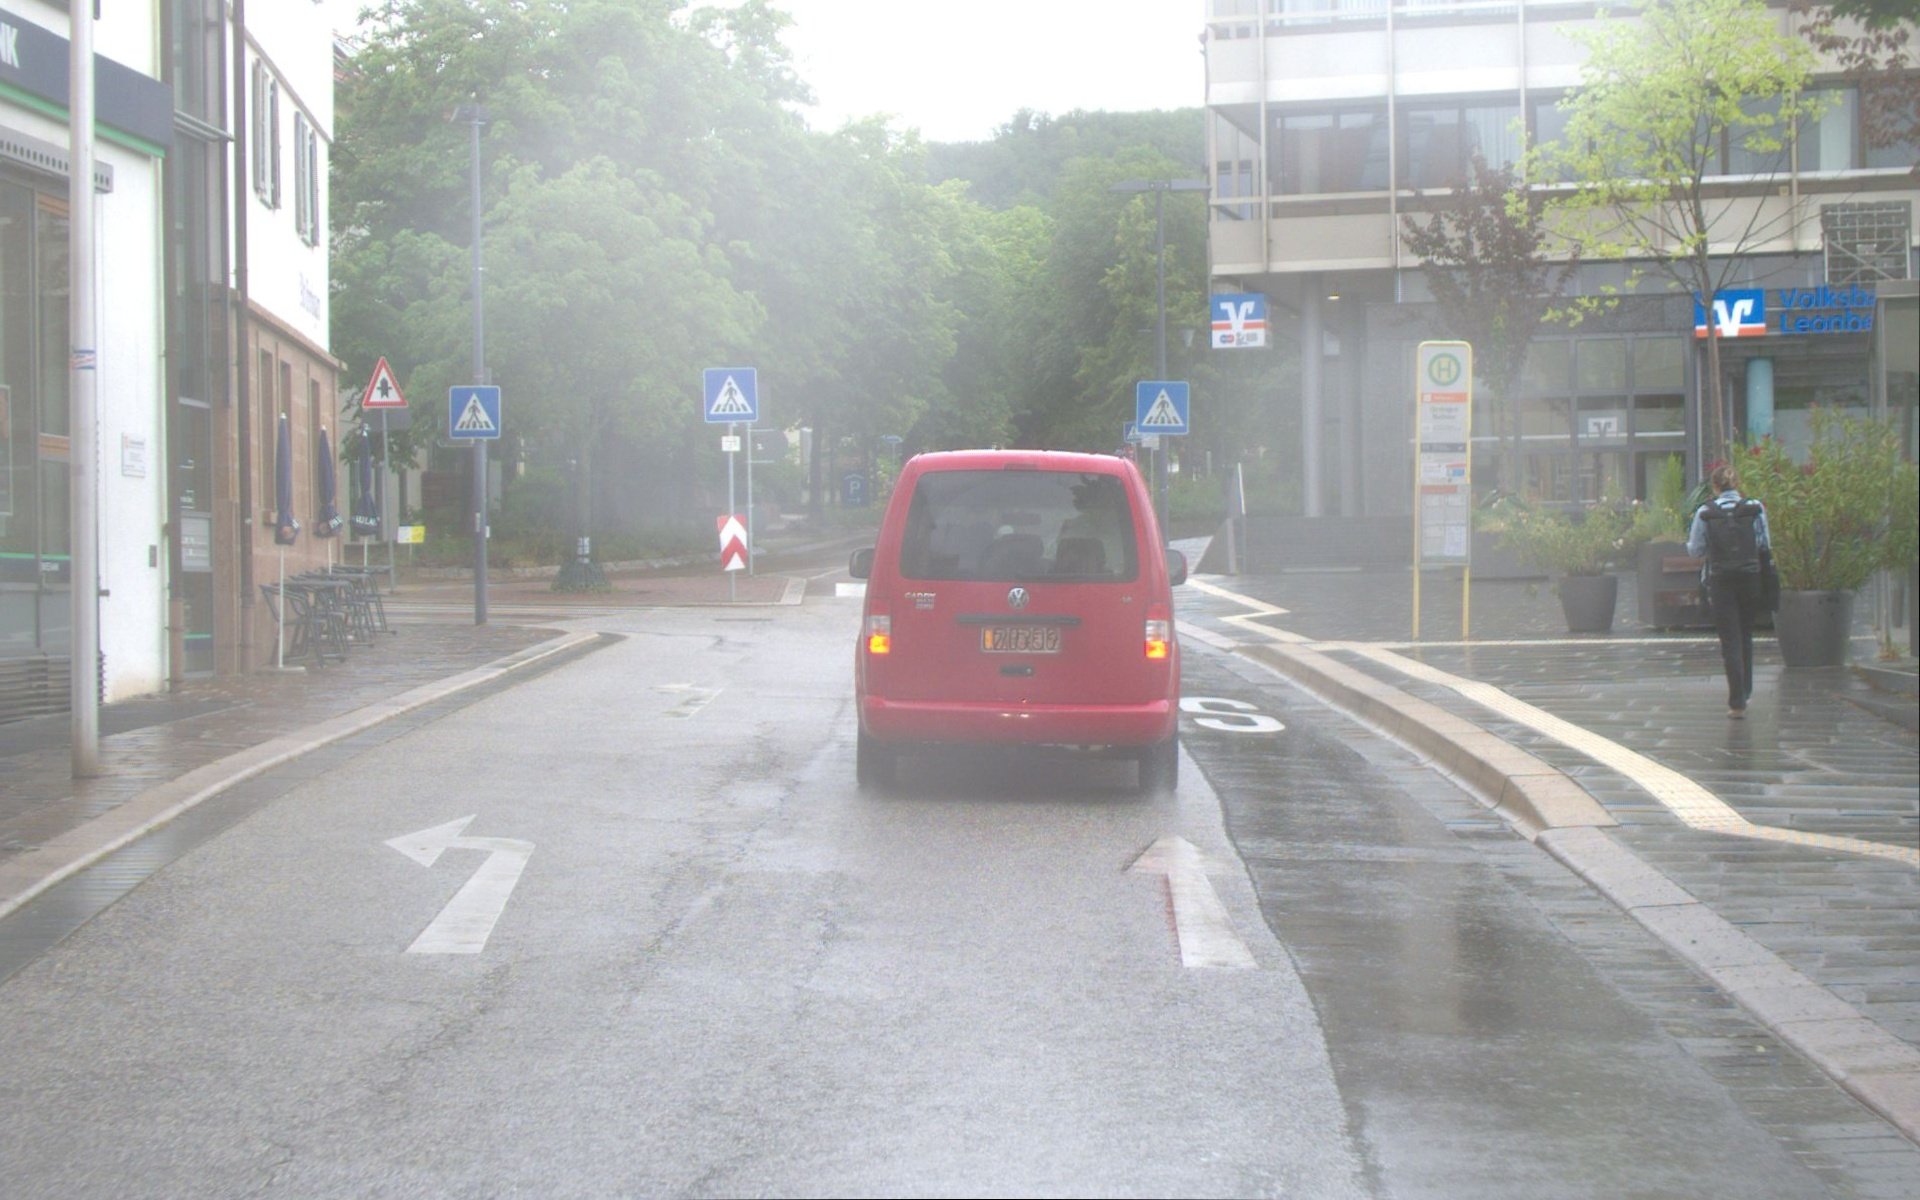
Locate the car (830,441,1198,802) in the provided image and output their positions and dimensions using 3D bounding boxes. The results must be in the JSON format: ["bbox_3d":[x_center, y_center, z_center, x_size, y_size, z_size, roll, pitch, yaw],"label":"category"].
[{"bbox_3d":[0.227,0.070,19.676,1.862,1.824,4.185,-1,1,-1],"label":"car"}]

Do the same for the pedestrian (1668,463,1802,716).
[{"bbox_3d":[5.059,-0.070,22.475,0.728,1.611,0.693,-1,1,5],"label":"pedestrian"}]
